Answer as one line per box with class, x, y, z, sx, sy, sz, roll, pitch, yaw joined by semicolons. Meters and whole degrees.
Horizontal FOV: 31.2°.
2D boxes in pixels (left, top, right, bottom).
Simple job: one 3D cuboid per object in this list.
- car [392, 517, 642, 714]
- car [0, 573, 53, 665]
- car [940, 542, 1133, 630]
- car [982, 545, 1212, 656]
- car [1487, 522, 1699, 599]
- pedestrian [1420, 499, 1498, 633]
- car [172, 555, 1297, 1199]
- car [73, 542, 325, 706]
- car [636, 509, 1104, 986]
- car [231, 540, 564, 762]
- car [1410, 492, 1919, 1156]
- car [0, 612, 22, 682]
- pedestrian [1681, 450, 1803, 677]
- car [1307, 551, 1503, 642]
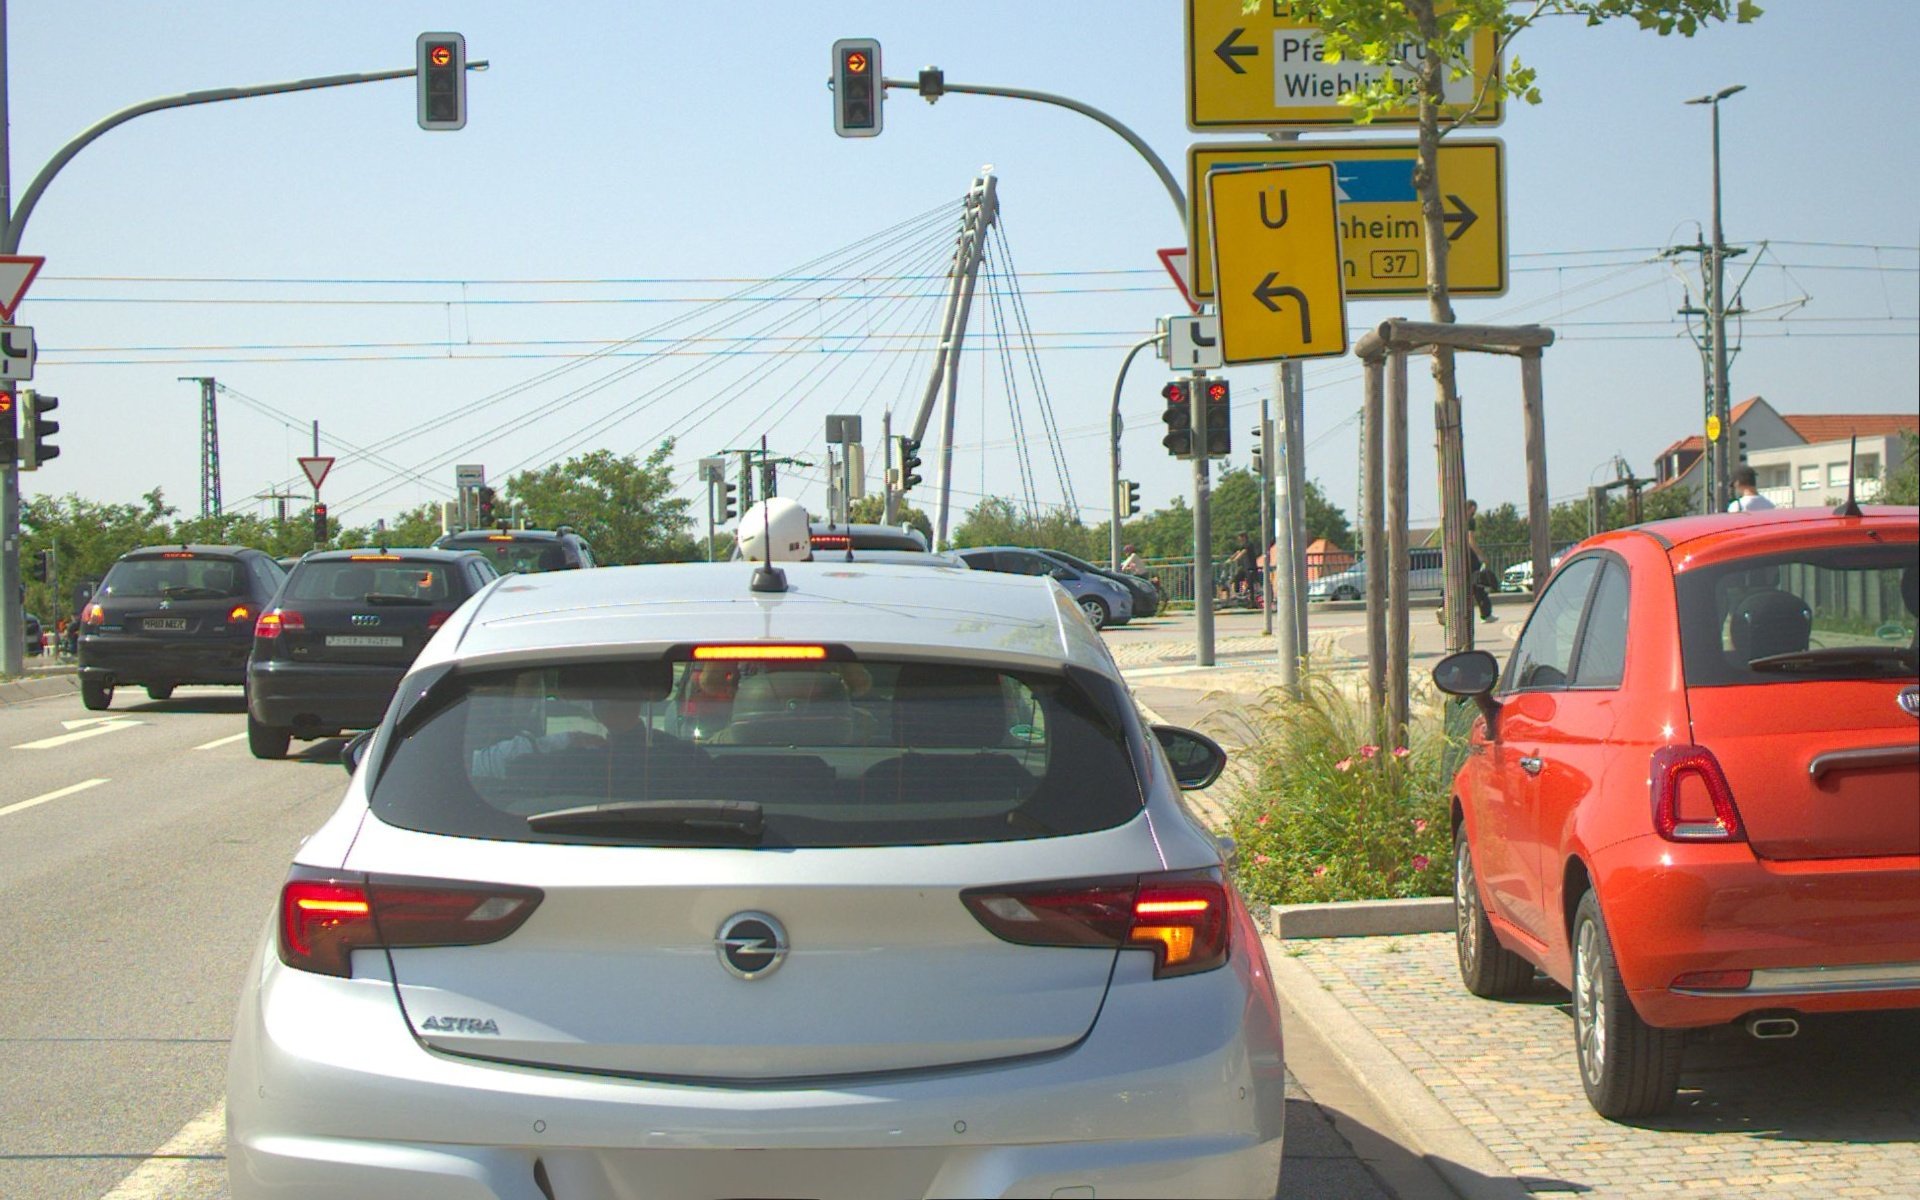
car;-4.029;0.128;31.817;1.803;1.616;3.917;-3;0;-1
car;-19.761;0.331;66.535;4.205;1.735;1.715;1;0;28
car;1.298;-0.235;59.363;3.143;1.434;1.586;1;0;-5
car;2.510;0.007;63.609;3.986;2.007;2.000;0;0;-7
car;14.207;-0.874;77.224;4.244;1.668;2.001;0;0;-18
pedestrian;7.017;-0.470;48.326;0.740;1.857;0.754;1;0;-34
car;-0.386;0.667;7.319;1.690;1.514;4.271;0;1;-1
car;-6.784;0.198;30.928;1.587;1.390;3.340;0;0;-1
car;-0.363;0.523;14.145;1.634;1.668;3.745;1;0;-1
car;-3.895;0.328;24.398;1.705;1.407;4.000;1;0;0
car;2.375;0.474;10.020;1.669;1.534;3.916;-2;1;2
car;-24.713;1.088;82.361;4.202;1.639;1.830;1;0;28
pedestrian;6.415;-0.297;28.240;0.758;1.823;0.885;1;0;-1
car;10.251;-0.088;79.260;3.986;2.007;2.001;1;0;-22
